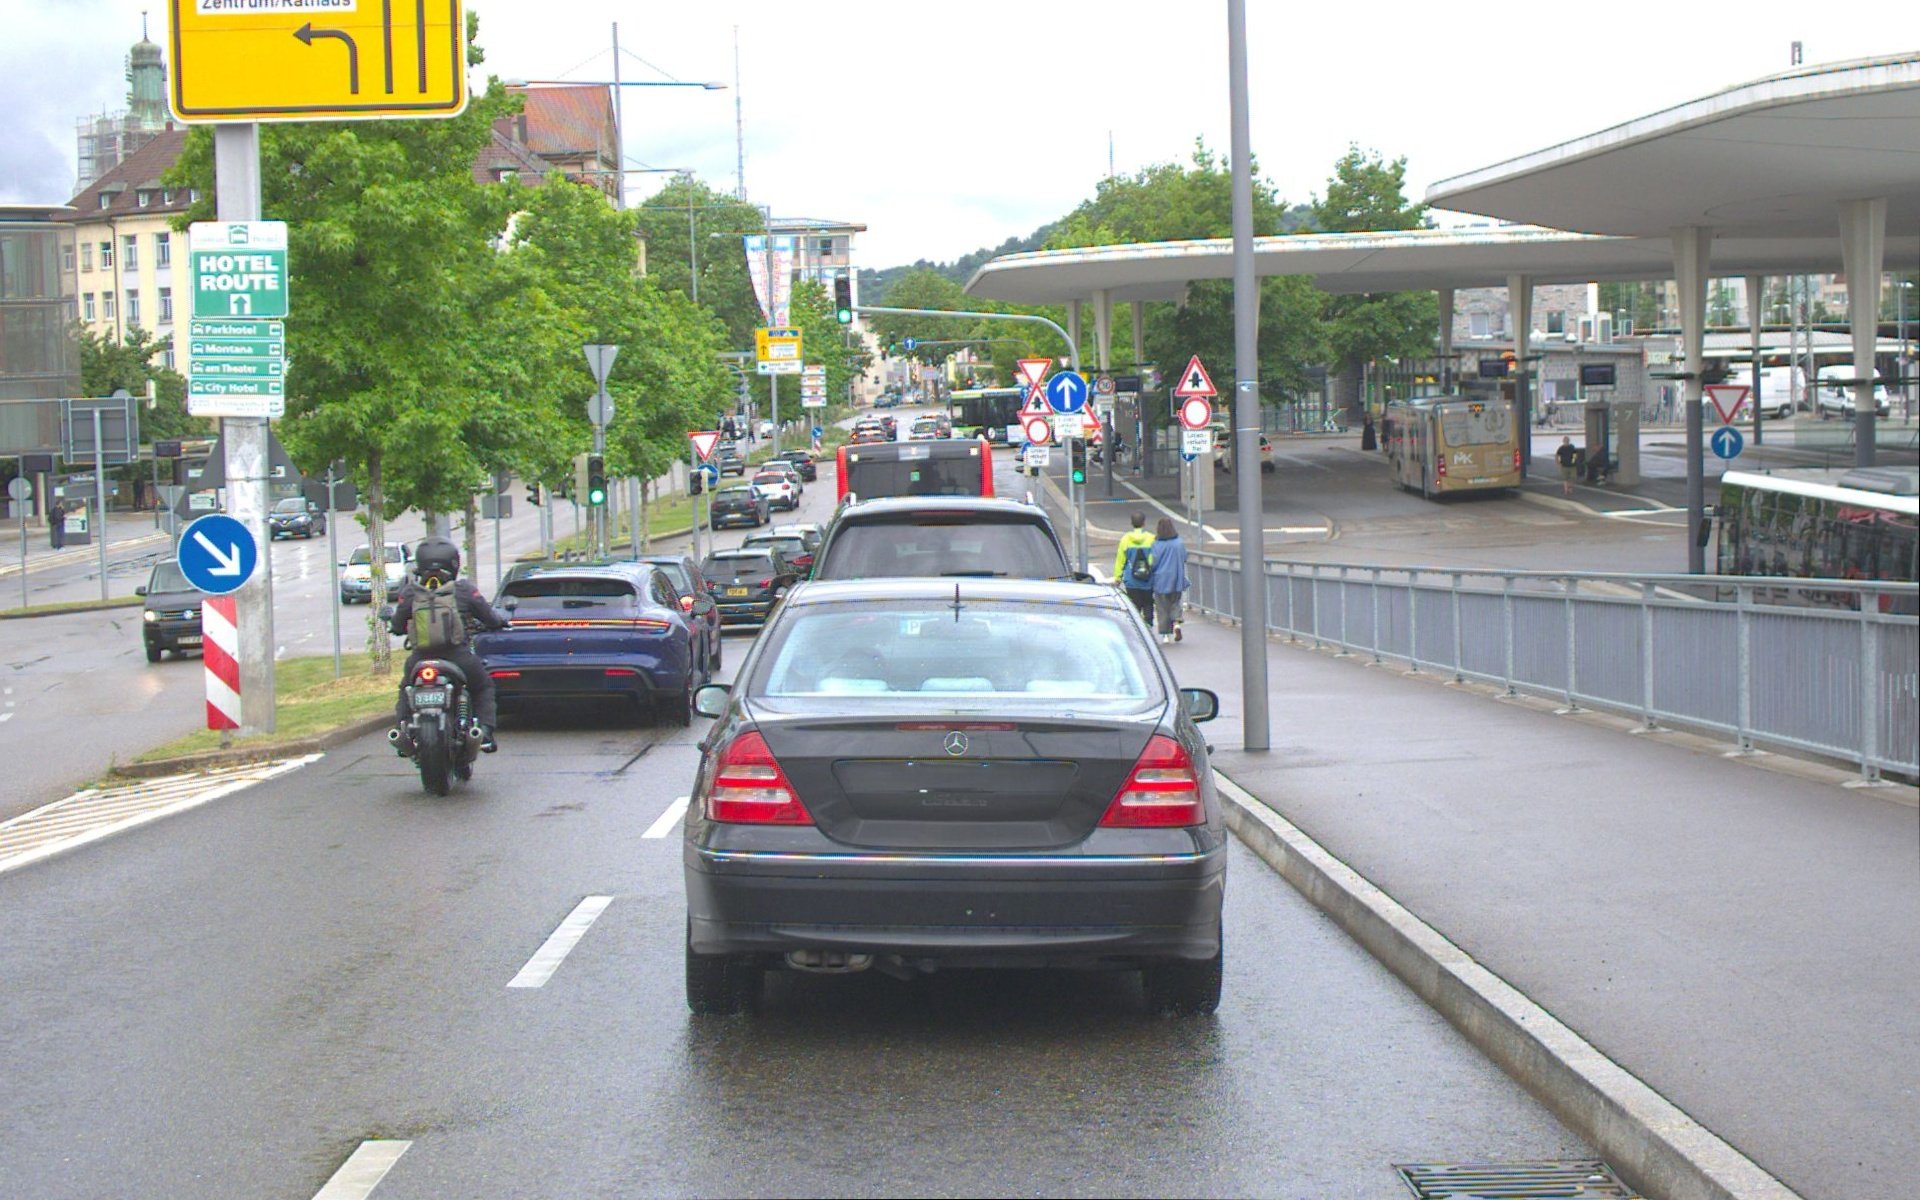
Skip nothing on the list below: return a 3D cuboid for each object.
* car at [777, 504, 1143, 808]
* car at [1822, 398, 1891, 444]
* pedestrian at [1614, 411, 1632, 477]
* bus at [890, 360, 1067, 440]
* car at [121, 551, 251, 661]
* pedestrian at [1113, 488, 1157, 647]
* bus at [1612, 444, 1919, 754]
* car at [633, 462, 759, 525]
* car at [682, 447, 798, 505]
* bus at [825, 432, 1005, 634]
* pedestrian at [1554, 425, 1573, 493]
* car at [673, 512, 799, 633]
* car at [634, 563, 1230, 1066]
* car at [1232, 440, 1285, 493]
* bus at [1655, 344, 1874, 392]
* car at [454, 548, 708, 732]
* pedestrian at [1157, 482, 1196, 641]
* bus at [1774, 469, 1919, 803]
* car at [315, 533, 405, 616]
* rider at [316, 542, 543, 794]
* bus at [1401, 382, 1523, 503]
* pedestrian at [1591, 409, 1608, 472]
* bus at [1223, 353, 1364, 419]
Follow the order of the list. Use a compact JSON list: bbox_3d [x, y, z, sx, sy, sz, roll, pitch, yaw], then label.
[{"bbox_3d":[0.102,0.254,21.149,1.827,1.681,3.999,0,2,6],"label":"car"},{"bbox_3d":[40.539,-8.087,155.543,1.993,2.006,4.001,-2,3,-1],"label":"car"},{"bbox_3d":[20.588,-4.840,106.798,0.424,2.007,0.483,-2,-1,2],"label":"pedestrian"},{"bbox_3d":[0.892,-10.721,183.365,3.257,3.993,10.890,-6,6,-38],"label":"bus"},{"bbox_3d":[-14.890,0.103,66.359,1.993,2.007,4.203,-2,0,-7],"label":"car"},{"bbox_3d":[2.229,-0.413,43.848,0.489,2.007,0.469,-2,-1,2],"label":"pedestrian"},{"bbox_3d":[10.467,-0.167,43.456,2.645,3.225,7.074,-2,5,-4],"label":"bus"},{"bbox_3d":[-9.038,-3.655,117.981,3.987,2.006,2.000,-2,2,4],"label":"car"},{"bbox_3d":[-8.167,-4.606,127.837,3.987,2.006,2.000,-2,2,4],"label":"car"},{"bbox_3d":[-0.777,-1.184,59.389,2.827,3.178,10.310,0,1,-1],"label":"bus"},{"bbox_3d":[18.101,-4.229,103.138,0.424,2.006,0.483,-2,1,2],"label":"pedestrian"},{"bbox_3d":[-3.820,-0.510,59.254,1.993,1.999,4.001,0,2,-1],"label":"car"},{"bbox_3d":[-0.020,0.593,11.719,1.706,1.415,3.725,0,1,2],"label":"car"},{"bbox_3d":[11.746,-5.243,135.252,1.994,2.006,4.000,-2,2,5],"label":"car"},{"bbox_3d":[39.266,-11.320,167.810,10.167,2.006,2.170,-2,2,-3],"label":"bus"},{"bbox_3d":[-3.192,0.292,29.618,1.760,1.431,4.000,0,2,0],"label":"car"},{"bbox_3d":[2.761,-0.486,43.894,0.424,2.007,0.483,-2,-1,2],"label":"pedestrian"},{"bbox_3d":[10.999,0.338,36.345,2.645,3.225,7.074,-2,4,-4],"label":"bus"},{"bbox_3d":[-15.261,-0.634,87.627,1.993,2.007,4.203,-2,0,-7],"label":"car"},{"bbox_3d":[-3.288,0.386,21.531,0.881,1.467,2.196,1,1,6],"label":"rider"},{"bbox_3d":[15.942,-4.943,109.892,3.179,3.588,10.509,-1,2,5],"label":"bus"},{"bbox_3d":[20.519,-5.107,110.308,0.424,2.006,0.483,-2,1,2],"label":"pedestrian"},{"bbox_3d":[18.274,-11.732,188.717,7.197,3.384,3.083,-2,3,-4],"label":"bus"}]
